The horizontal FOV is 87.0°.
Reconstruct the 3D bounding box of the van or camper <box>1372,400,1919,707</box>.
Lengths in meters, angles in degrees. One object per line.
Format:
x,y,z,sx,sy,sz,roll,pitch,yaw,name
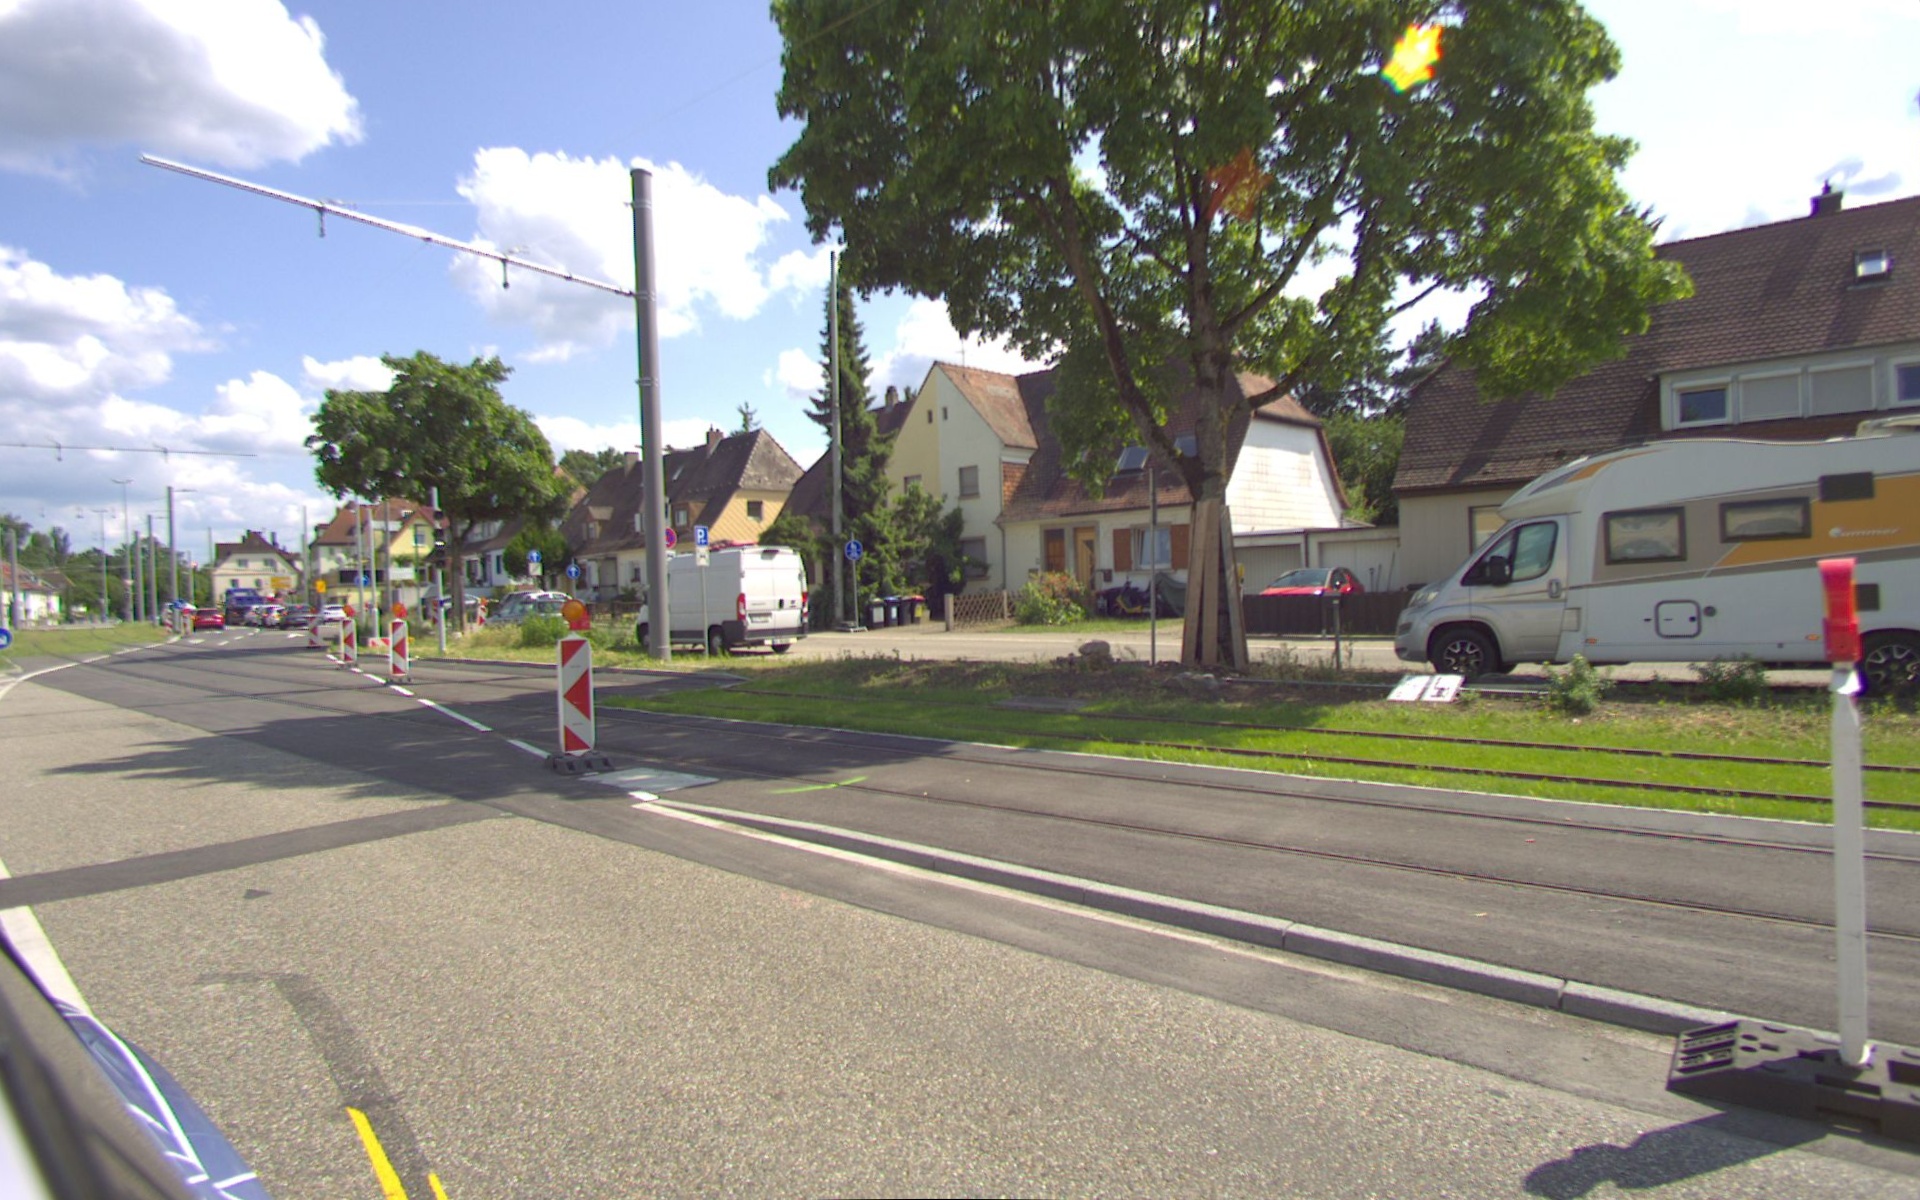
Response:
8.936,-0.451,11.747,7.288,2.992,2.353,-1,0,39,van or camper

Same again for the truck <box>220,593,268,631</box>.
-63.323,1.045,89.454,2.800,3.177,7.948,-2,1,-39,truck

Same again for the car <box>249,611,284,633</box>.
-53.736,1.668,78.358,1.704,1.574,4.548,-2,1,-41,car

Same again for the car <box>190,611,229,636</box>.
-50.704,1.588,68.361,1.704,1.574,4.548,-2,1,-41,car

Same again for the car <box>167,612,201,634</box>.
-60.331,1.761,78.679,1.705,1.574,4.547,-2,1,-42,car

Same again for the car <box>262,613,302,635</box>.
-45.039,1.598,67.191,1.704,1.344,4.550,-2,1,-39,car

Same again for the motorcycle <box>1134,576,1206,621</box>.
6.236,-0.031,30.140,1.992,1.282,0.572,-1,1,29,motorcycle

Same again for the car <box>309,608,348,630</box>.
-47.340,1.411,75.839,1.704,1.574,4.548,-2,1,-41,car

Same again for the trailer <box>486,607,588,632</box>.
-23.676,1.077,56.764,1.961,1.133,4.866,-1,1,44,trailer

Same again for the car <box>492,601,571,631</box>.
-24.910,0.891,58.895,3.836,1.556,1.709,-2,1,-41,car

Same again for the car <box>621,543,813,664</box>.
-6.052,0.083,24.885,4.914,2.688,2.131,-1,1,42,car

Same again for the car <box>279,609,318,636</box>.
-40.504,1.370,61.953,1.703,1.538,4.781,-2,1,-36,car

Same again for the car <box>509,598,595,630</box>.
-22.059,0.733,54.775,1.759,1.556,3.910,-2,1,40,car

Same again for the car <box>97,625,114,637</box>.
-150.782,5.404,178.667,2.029,2.023,4.959,-2,1,-38,car

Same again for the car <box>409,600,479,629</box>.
-35.596,0.975,69.866,1.803,1.859,3.942,-1,1,44,car

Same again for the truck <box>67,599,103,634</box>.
-141.657,2.633,164.016,3.423,5.222,14.248,-2,1,-37,truck

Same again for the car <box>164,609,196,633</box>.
-64.720,1.750,83.913,1.705,1.868,4.547,-2,1,-42,car

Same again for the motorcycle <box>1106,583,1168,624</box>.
5.234,0.119,29.972,1.791,1.178,0.491,-1,1,39,motorcycle

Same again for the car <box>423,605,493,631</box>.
-33.570,1.162,67.707,1.682,1.567,3.834,-1,1,44,car

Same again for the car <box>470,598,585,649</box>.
-14.020,0.752,32.672,4.756,1.476,1.674,-1,1,44,car

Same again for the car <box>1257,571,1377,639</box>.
8.985,0.092,25.353,1.669,1.533,3.581,-1,1,40,car

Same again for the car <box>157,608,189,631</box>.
-69.822,1.733,89.761,1.895,1.979,4.547,-2,1,-42,car

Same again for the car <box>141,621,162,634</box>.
-127.897,4.340,160.077,2.249,1.886,4.998,-2,1,-35,car

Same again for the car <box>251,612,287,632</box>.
-49.724,1.577,72.762,1.704,1.344,4.550,-2,1,-39,car
